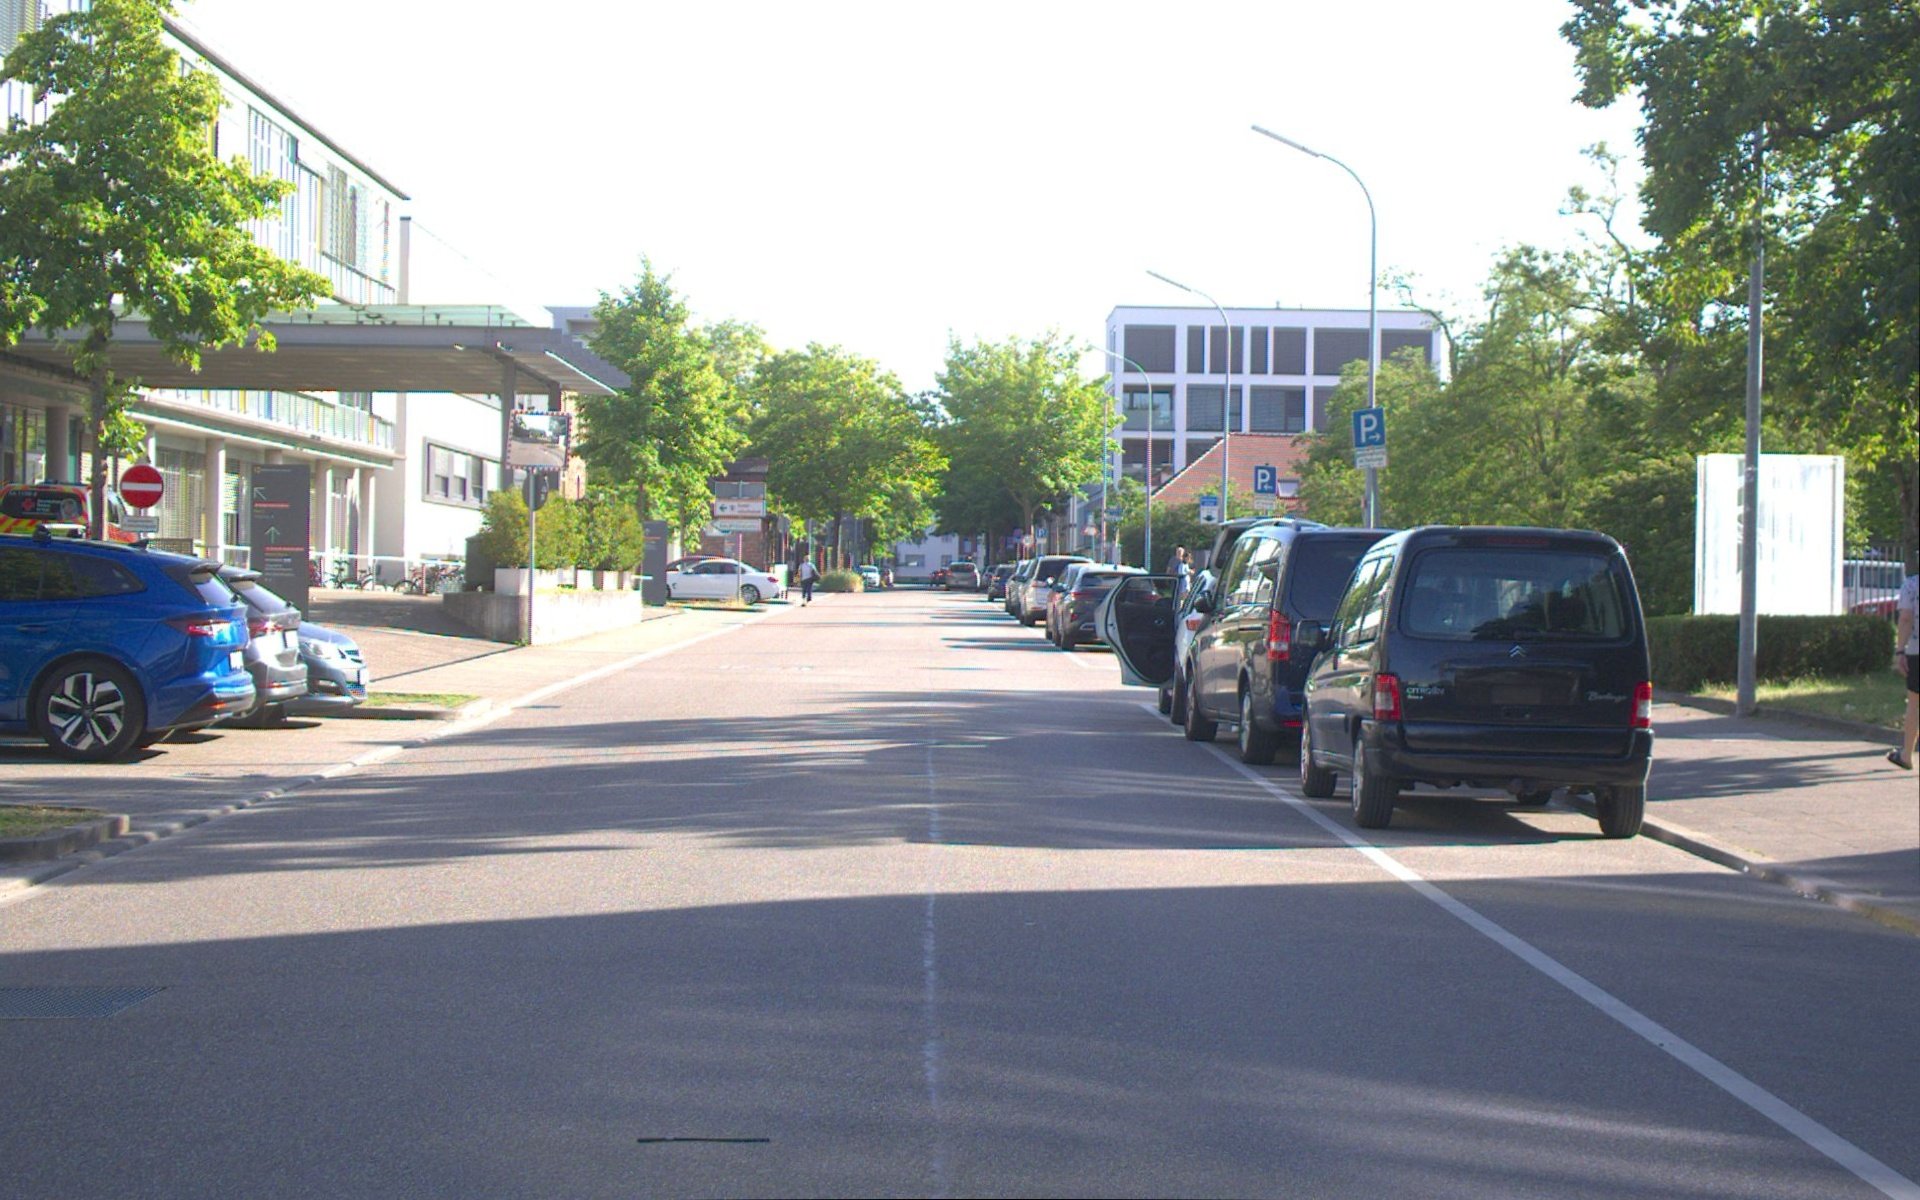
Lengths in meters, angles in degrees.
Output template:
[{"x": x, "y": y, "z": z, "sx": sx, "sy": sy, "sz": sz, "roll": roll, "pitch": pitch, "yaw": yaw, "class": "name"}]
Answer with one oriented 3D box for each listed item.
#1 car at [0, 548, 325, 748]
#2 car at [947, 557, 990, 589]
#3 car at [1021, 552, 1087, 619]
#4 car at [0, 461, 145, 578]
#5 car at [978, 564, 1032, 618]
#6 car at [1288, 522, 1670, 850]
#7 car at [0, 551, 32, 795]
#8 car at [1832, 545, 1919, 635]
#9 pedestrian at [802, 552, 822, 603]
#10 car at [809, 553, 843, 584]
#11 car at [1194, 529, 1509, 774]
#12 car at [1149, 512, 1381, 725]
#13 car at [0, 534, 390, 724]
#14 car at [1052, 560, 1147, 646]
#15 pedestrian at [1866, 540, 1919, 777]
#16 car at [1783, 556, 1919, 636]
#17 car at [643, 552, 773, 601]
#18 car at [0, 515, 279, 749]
[{"x": -7.253, "y": 0.357, "z": 27.667, "sx": 3.986, "sy": 1.547, "sz": 2.000, "roll": 0, "pitch": 1, "yaw": -3, "class": "car"}, {"x": 0.419, "y": -1.369, "z": 172.338, "sx": 1.744, "sy": 1.538, "sz": 3.999, "roll": 2, "pitch": 1, "yaw": 6, "class": "car"}, {"x": 2.241, "y": -0.358, "z": 82.451, "sx": 1.436, "sy": 1.555, "sz": 3.042, "roll": 1, "pitch": 1, "yaw": -1, "class": "car"}, {"x": -16.630, "y": -1.463, "z": 63.966, "sx": 1.993, "sy": 2.007, "sz": 4.000, "roll": 1, "pitch": -1, "yaw": -1, "class": "car"}, {"x": 1.737, "y": -0.337, "z": 134.128, "sx": 1.993, "sy": 2.007, "sz": 4.000, "roll": 1, "pitch": -1, "yaw": -1, "class": "car"}, {"x": 3.111, "y": 0.463, "z": 21.333, "sx": 1.733, "sy": 1.824, "sz": 3.905, "roll": 1, "pitch": 1, "yaw": 0, "class": "car"}, {"x": -7.926, "y": 0.369, "z": 20.641, "sx": 4.213, "sy": 1.481, "sz": 1.872, "roll": 2, "pitch": 1, "yaw": -4, "class": "car"}, {"x": 22.556, "y": -0.199, "z": 79.825, "sx": 3.986, "sy": 2.007, "sz": 2.000, "roll": 1, "pitch": -1, "yaw": -5, "class": "car"}, {"x": -4.688, "y": -0.716, "z": 108.933, "sx": 0.618, "sy": 1.618, "sz": 0.716, "roll": 0, "pitch": 1, "yaw": -1, "class": "pedestrian"}, {"x": -6.819, "y": -1.597, "z": 175.237, "sx": 1.727, "sy": 1.531, "sz": 4.000, "roll": 1, "pitch": 1, "yaw": -2, "class": "car"}, {"x": 3.043, "y": 0.353, "z": 27.573, "sx": 1.993, "sy": 1.816, "sz": 4.199, "roll": 0, "pitch": 1, "yaw": -1, "class": "car"}, {"x": 2.935, "y": 0.146, "z": 33.819, "sx": 1.874, "sy": 1.971, "sz": 4.000, "roll": 0, "pitch": 1, "yaw": -1, "class": "car"}, {"x": -7.137, "y": 0.226, "z": 30.175, "sx": 3.986, "sy": 1.546, "sz": 2.000, "roll": 1, "pitch": 1, "yaw": -3, "class": "car"}, {"x": 2.443, "y": 0.029, "z": 60.896, "sx": 1.497, "sy": 1.474, "sz": 3.650, "roll": 0, "pitch": 1, "yaw": -1, "class": "car"}, {"x": 6.928, "y": 0.401, "z": 24.478, "sx": 0.698, "sy": 1.655, "sz": 0.752, "roll": -2, "pitch": 1, "yaw": -1, "class": "pedestrian"}, {"x": 23.728, "y": -0.087, "z": 89.636, "sx": 3.986, "sy": 2.007, "sz": 2.000, "roll": 1, "pitch": -1, "yaw": -2, "class": "car"}, {"x": -7.953, "y": -0.747, "z": 108.849, "sx": 3.987, "sy": 1.514, "sz": 2.000, "roll": 0, "pitch": 1, "yaw": 0, "class": "car"}, {"x": -7.279, "y": 0.166, "z": 25.230, "sx": 4.213, "sy": 1.597, "sz": 1.872, "roll": 2, "pitch": 1, "yaw": -4, "class": "car"}]
